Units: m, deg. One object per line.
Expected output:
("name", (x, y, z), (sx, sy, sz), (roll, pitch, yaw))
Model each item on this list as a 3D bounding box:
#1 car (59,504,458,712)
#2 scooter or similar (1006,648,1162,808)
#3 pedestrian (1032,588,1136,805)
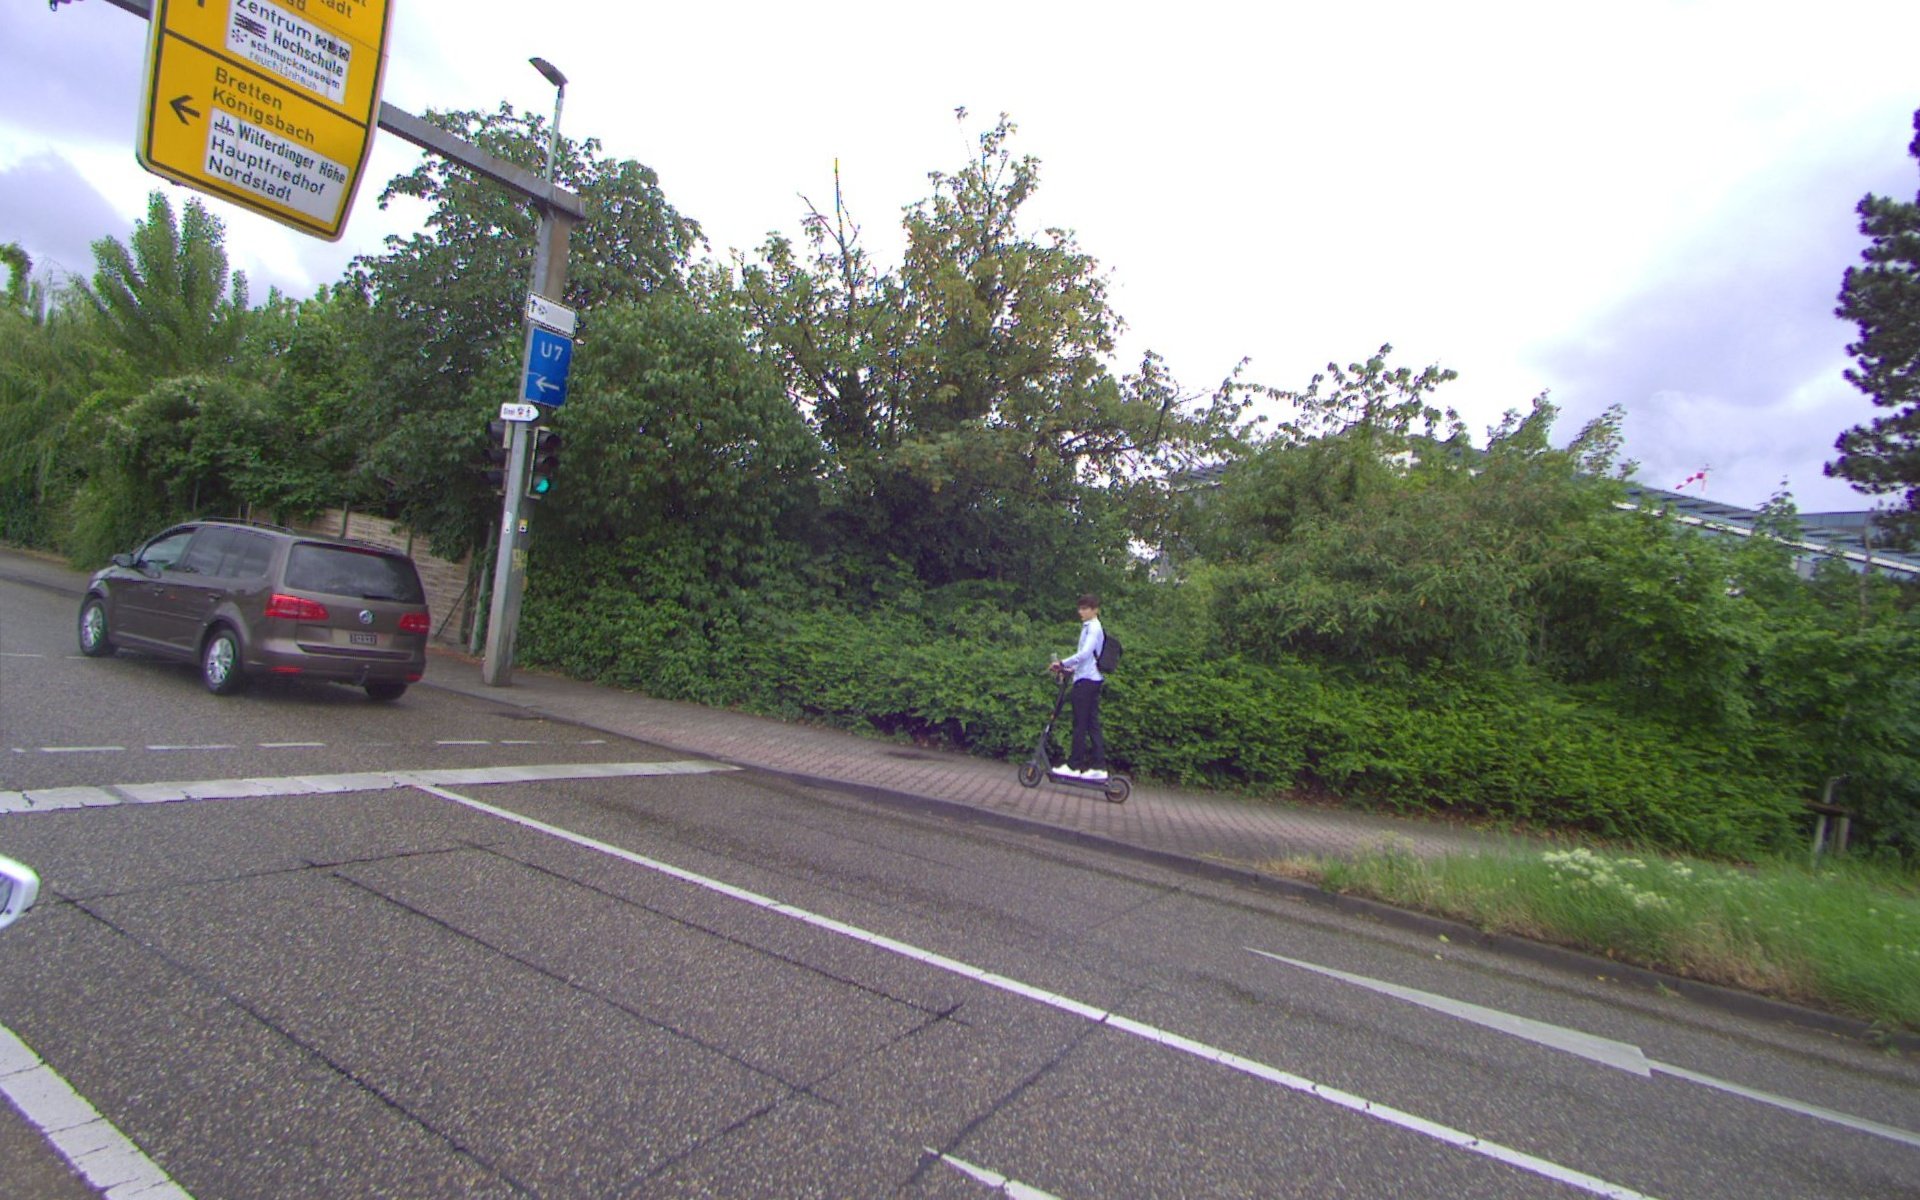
("car", (-7.381, 0.054, 10.525), (3.999, 1.593, 1.740), (7, -2, 30))
("scooter or similar", (1.254, 1.259, 10.159), (1.358, 1.378, 0.463), (7, 0, 17))
("pedestrian", (1.257, 0.945, 10.115), (0.704, 2.026, 0.658), (7, 0, 17))
